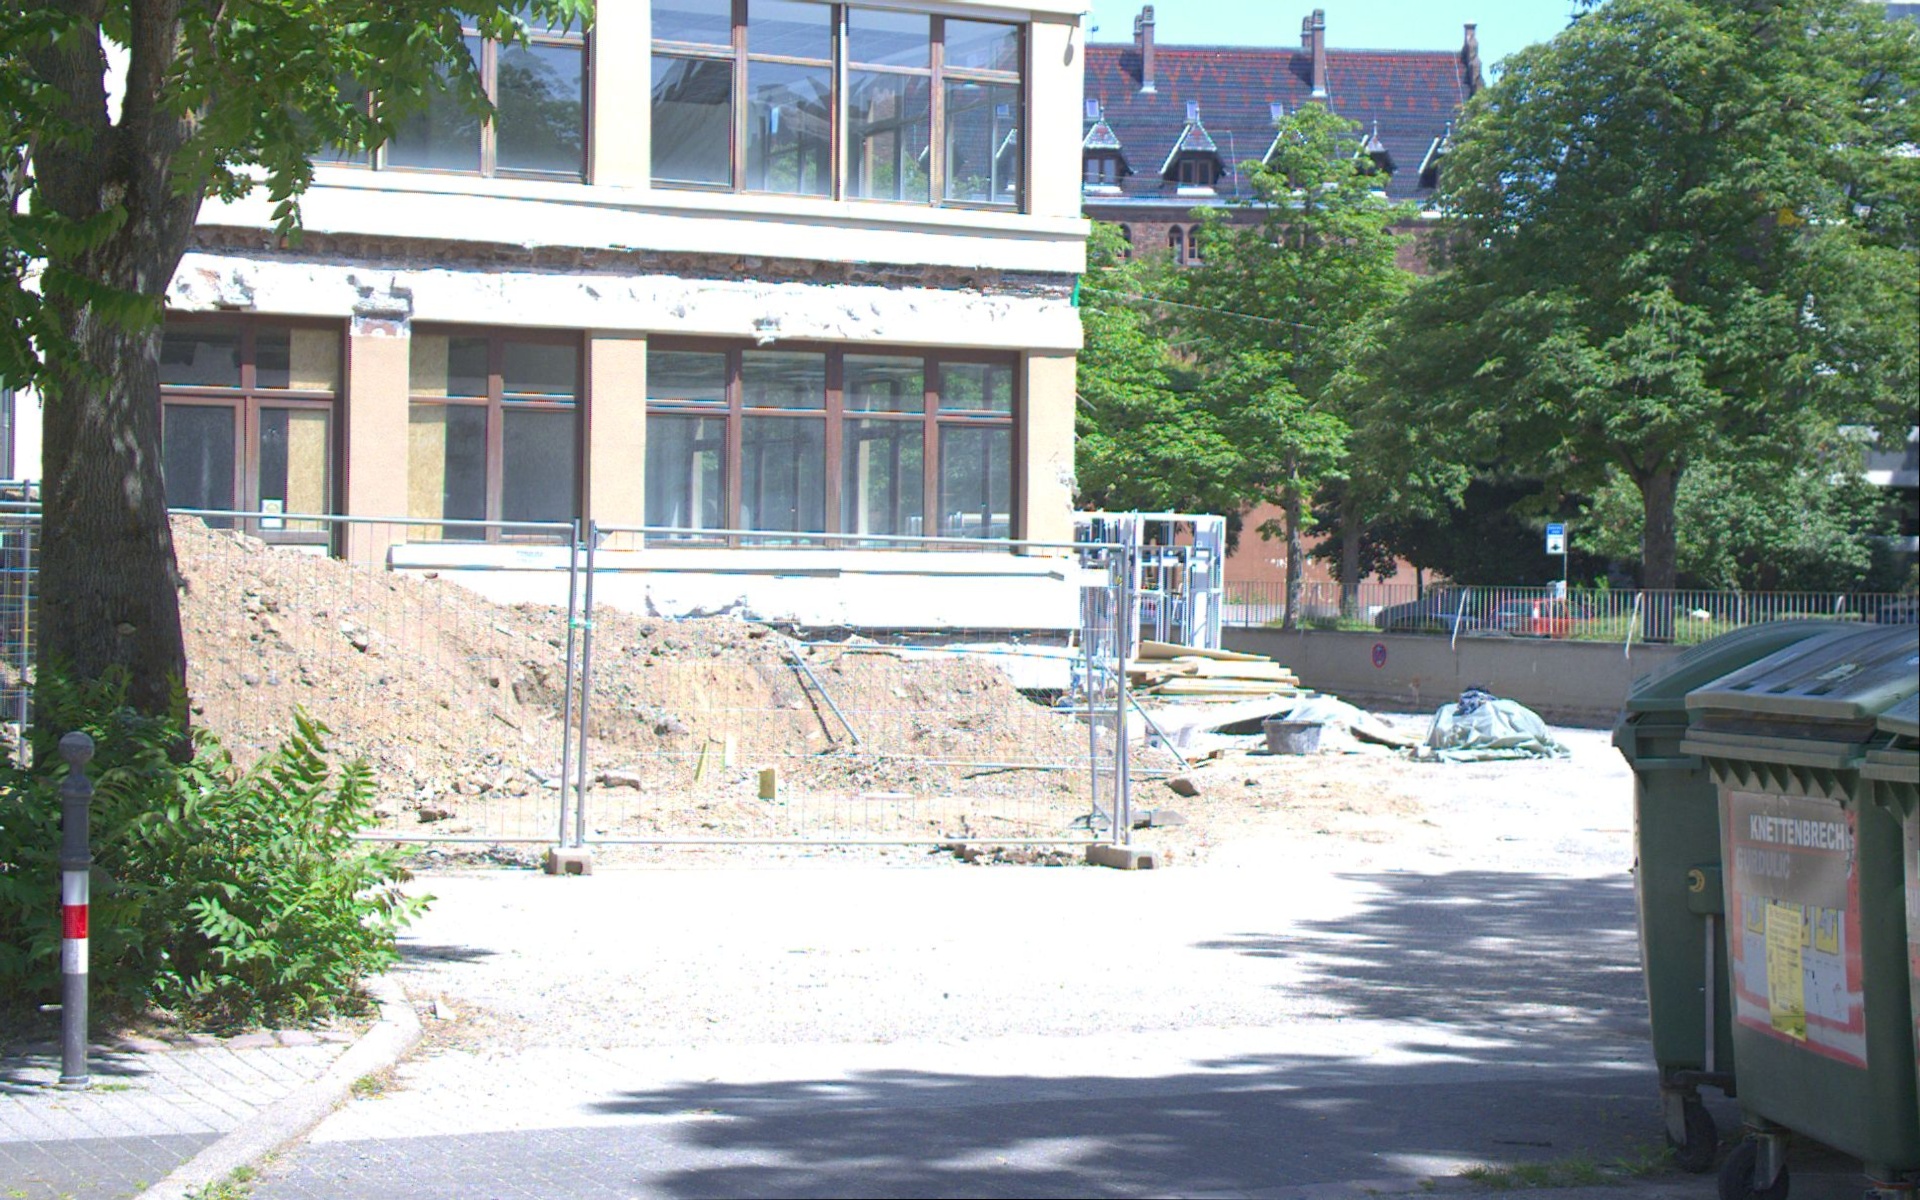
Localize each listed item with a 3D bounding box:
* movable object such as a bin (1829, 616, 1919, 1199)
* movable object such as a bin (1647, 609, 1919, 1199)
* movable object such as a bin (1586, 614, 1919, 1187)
[{"bbox_3d":[2.467,0.775,6.614,1.179,1.465,1.311,1,-1,-4],"label":"movable object such as a bin"},{"bbox_3d":[2.390,0.775,8.056,1.178,1.465,1.312,1,-1,-5],"label":"movable object such as a bin"},{"bbox_3d":[2.369,0.793,9.595,1.179,1.465,1.332,1,-1,11],"label":"movable object such as a bin"}]
